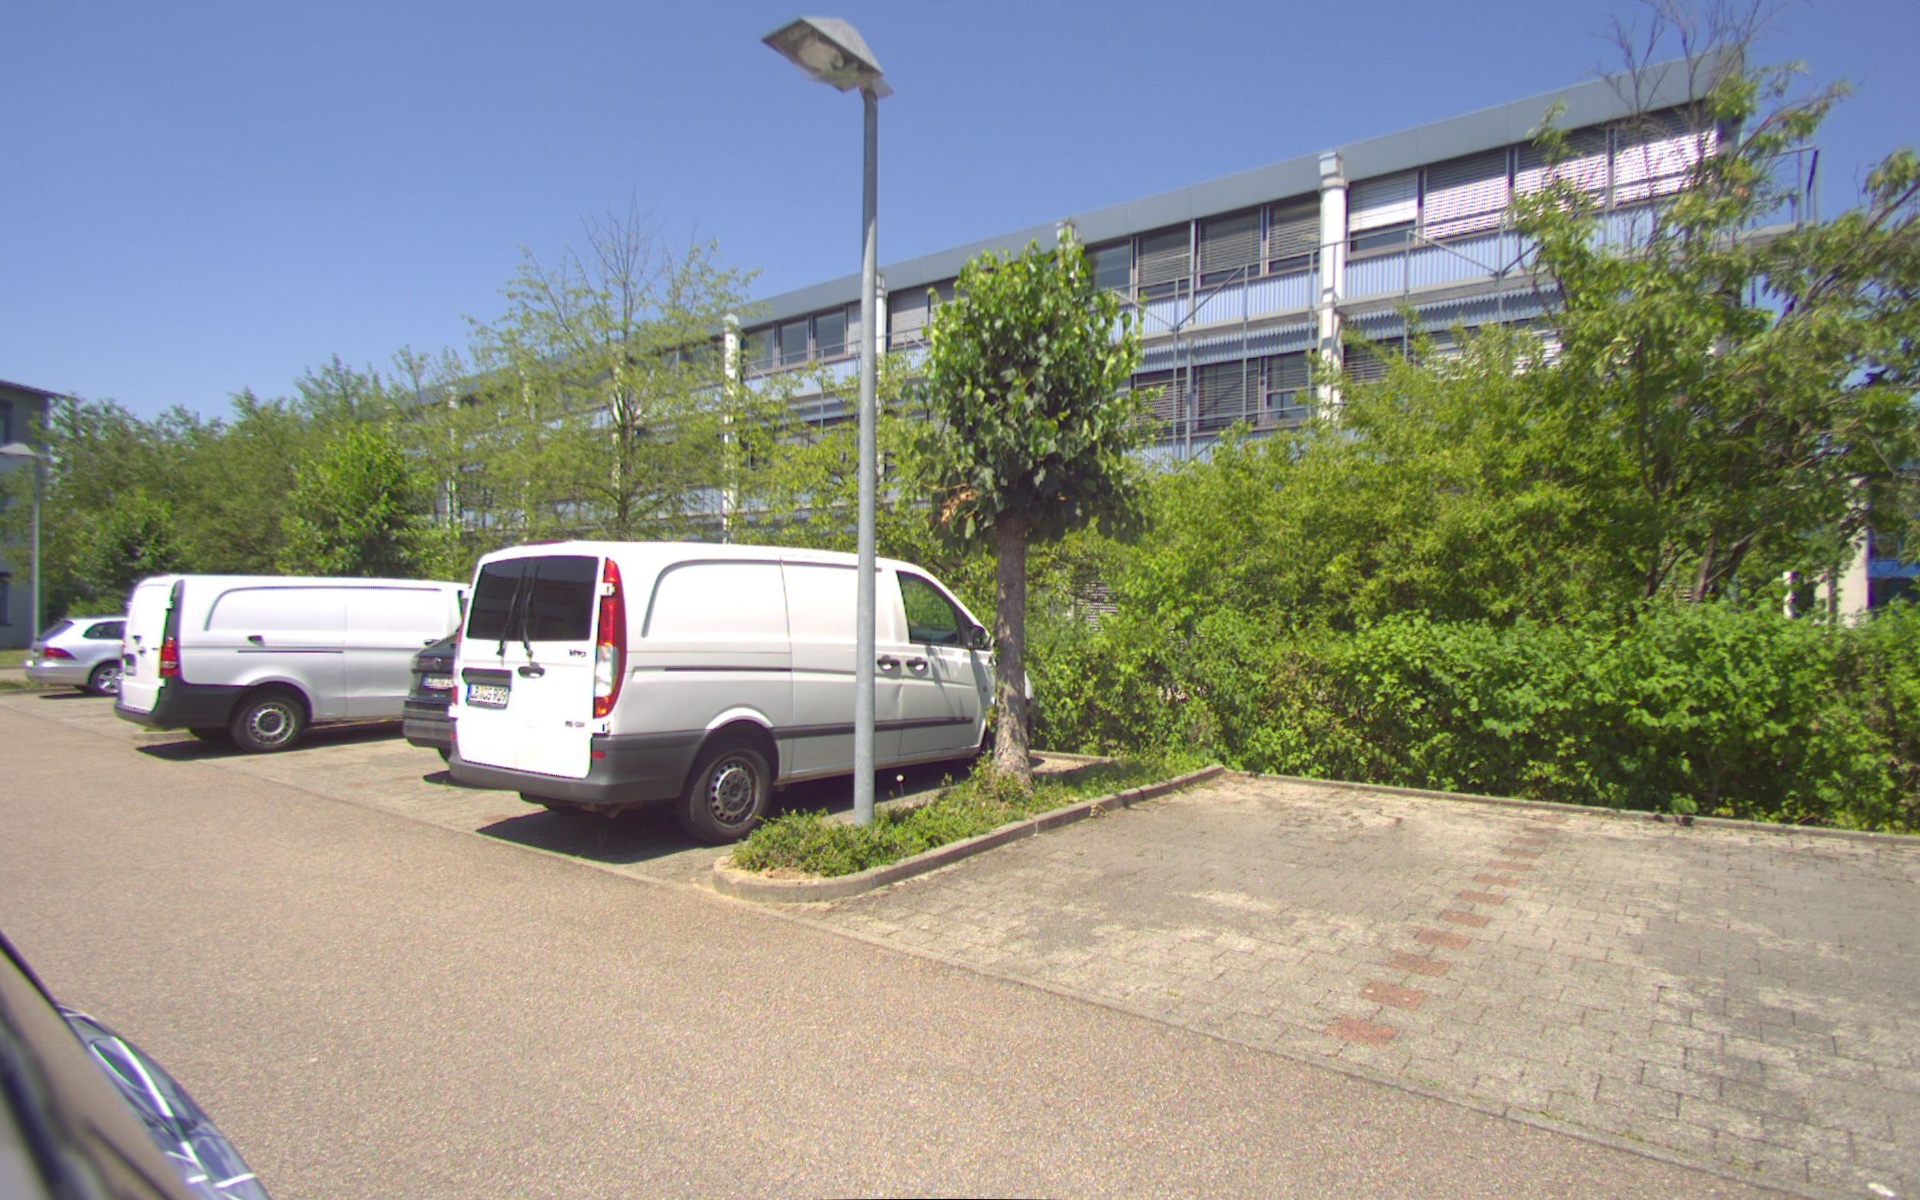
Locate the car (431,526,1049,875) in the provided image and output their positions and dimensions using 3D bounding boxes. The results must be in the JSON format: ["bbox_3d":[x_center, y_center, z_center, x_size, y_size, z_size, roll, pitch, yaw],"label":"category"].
[{"bbox_3d":[-1.323,0.585,7.864,1.865,1.874,4.619,-2,-2,37],"label":"car"}]

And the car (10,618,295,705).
[{"bbox_3d":[-15.400,1.099,19.477,1.738,1.495,4.030,-2,-2,40],"label":"car"}]

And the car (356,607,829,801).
[{"bbox_3d":[-3.365,0.844,10.004,1.737,1.495,4.145,-2,-2,37],"label":"car"}]

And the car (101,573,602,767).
[{"bbox_3d":[-7.035,0.712,12.233,1.855,1.870,4.870,-2,-2,39],"label":"car"}]
